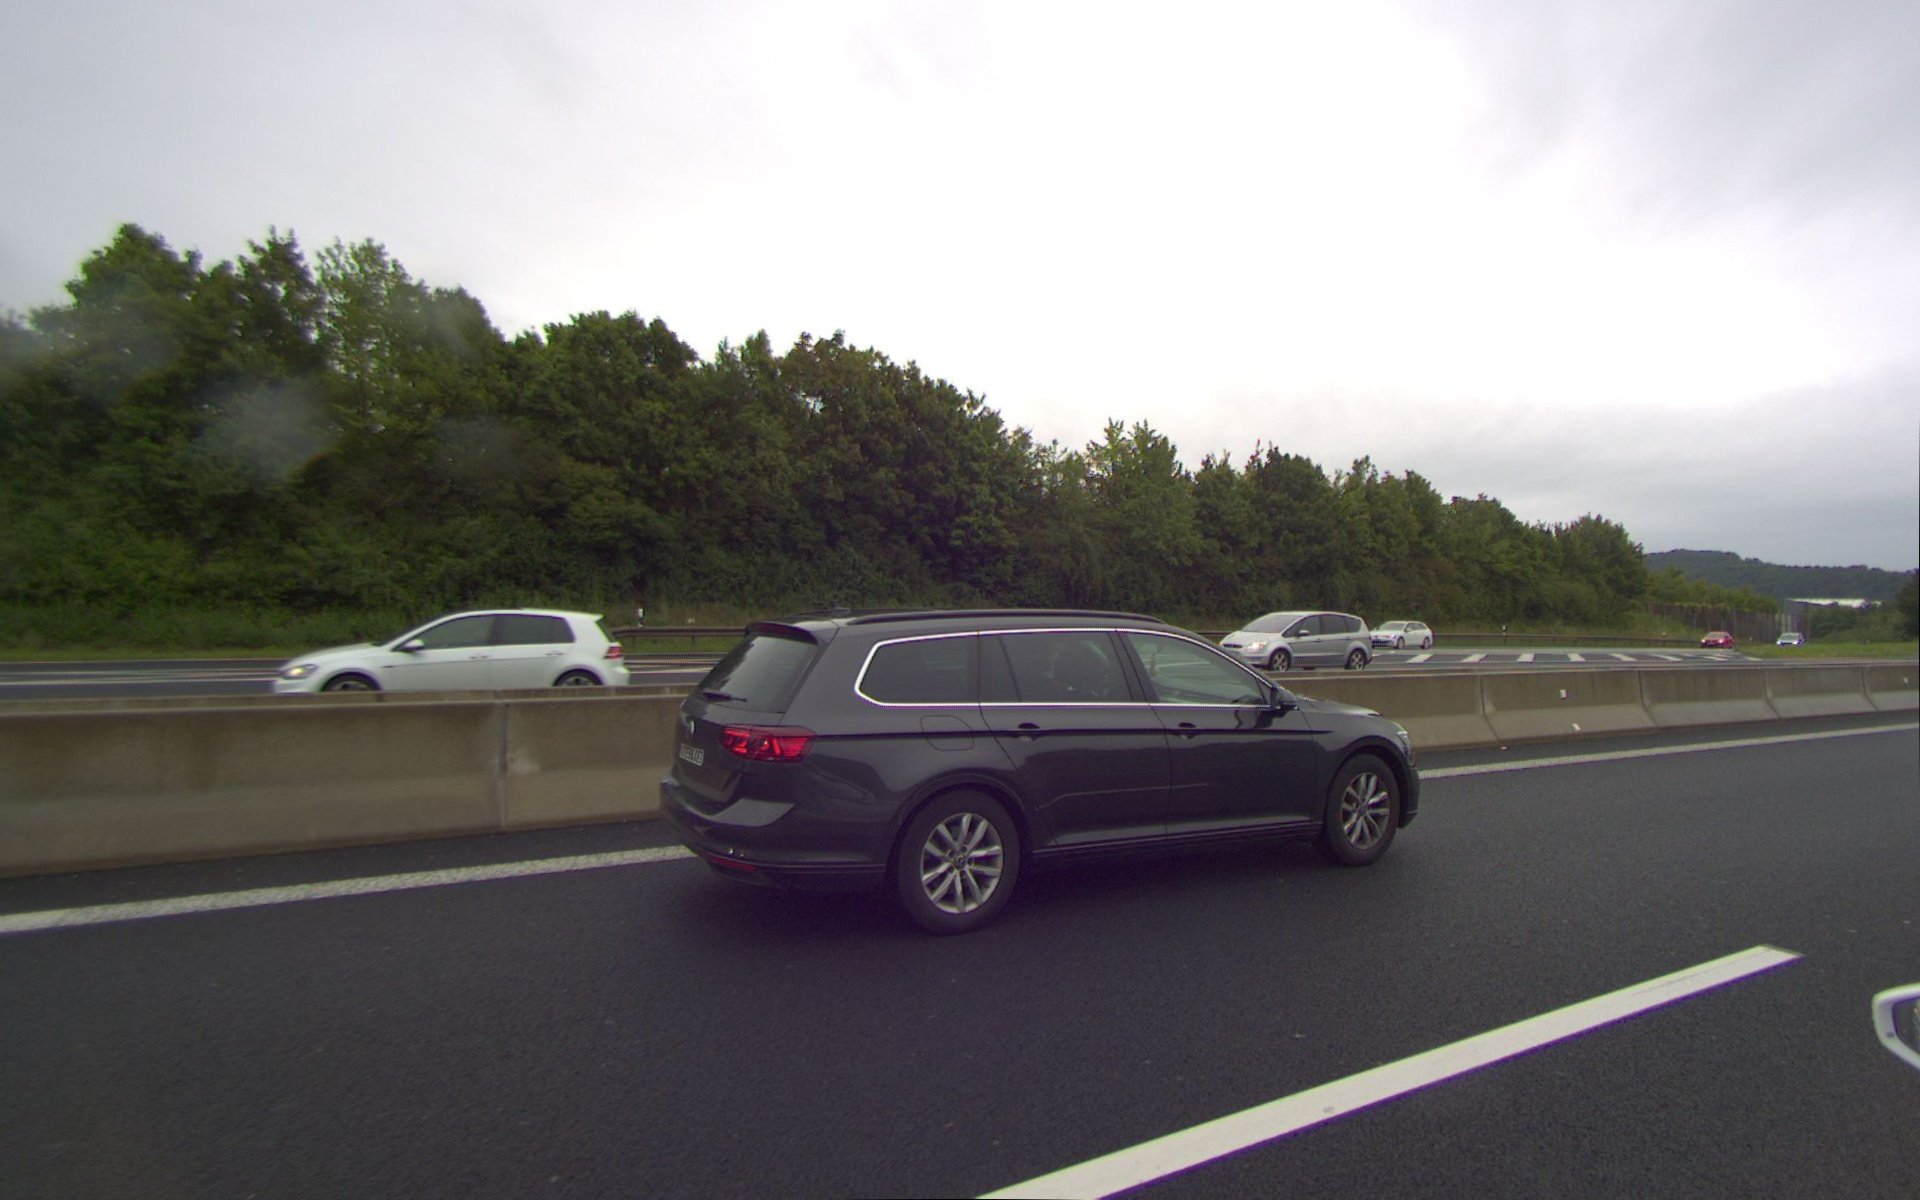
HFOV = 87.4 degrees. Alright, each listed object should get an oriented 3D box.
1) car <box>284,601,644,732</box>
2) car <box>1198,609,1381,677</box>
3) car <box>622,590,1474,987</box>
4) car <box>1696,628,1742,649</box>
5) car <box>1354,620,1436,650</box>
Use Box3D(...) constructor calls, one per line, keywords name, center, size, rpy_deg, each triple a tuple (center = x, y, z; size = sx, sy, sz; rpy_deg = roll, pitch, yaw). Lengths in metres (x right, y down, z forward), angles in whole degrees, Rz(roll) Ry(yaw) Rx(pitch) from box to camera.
Box3D(name="car", center=(-6.603, 0.819, 13.643), size=(4.091, 1.526, 1.973), rpy_deg=(1, -1, -30))
Box3D(name="car", center=(8.799, 1.115, 26.788), size=(4.481, 1.656, 2.171), rpy_deg=(1, -1, -29))
Box3D(name="car", center=(0.692, 0.766, 5.889), size=(4.795, 1.517, 1.891), rpy_deg=(1, -1, -31))
Box3D(name="car", center=(65.911, 3.314, 87.233), size=(4.588, 1.718, 2.163), rpy_deg=(1, -1, -39))
Box3D(name="car", center=(22.597, 1.781, 52.107), size=(4.350, 1.449, 2.163), rpy_deg=(2, -1, -39))
